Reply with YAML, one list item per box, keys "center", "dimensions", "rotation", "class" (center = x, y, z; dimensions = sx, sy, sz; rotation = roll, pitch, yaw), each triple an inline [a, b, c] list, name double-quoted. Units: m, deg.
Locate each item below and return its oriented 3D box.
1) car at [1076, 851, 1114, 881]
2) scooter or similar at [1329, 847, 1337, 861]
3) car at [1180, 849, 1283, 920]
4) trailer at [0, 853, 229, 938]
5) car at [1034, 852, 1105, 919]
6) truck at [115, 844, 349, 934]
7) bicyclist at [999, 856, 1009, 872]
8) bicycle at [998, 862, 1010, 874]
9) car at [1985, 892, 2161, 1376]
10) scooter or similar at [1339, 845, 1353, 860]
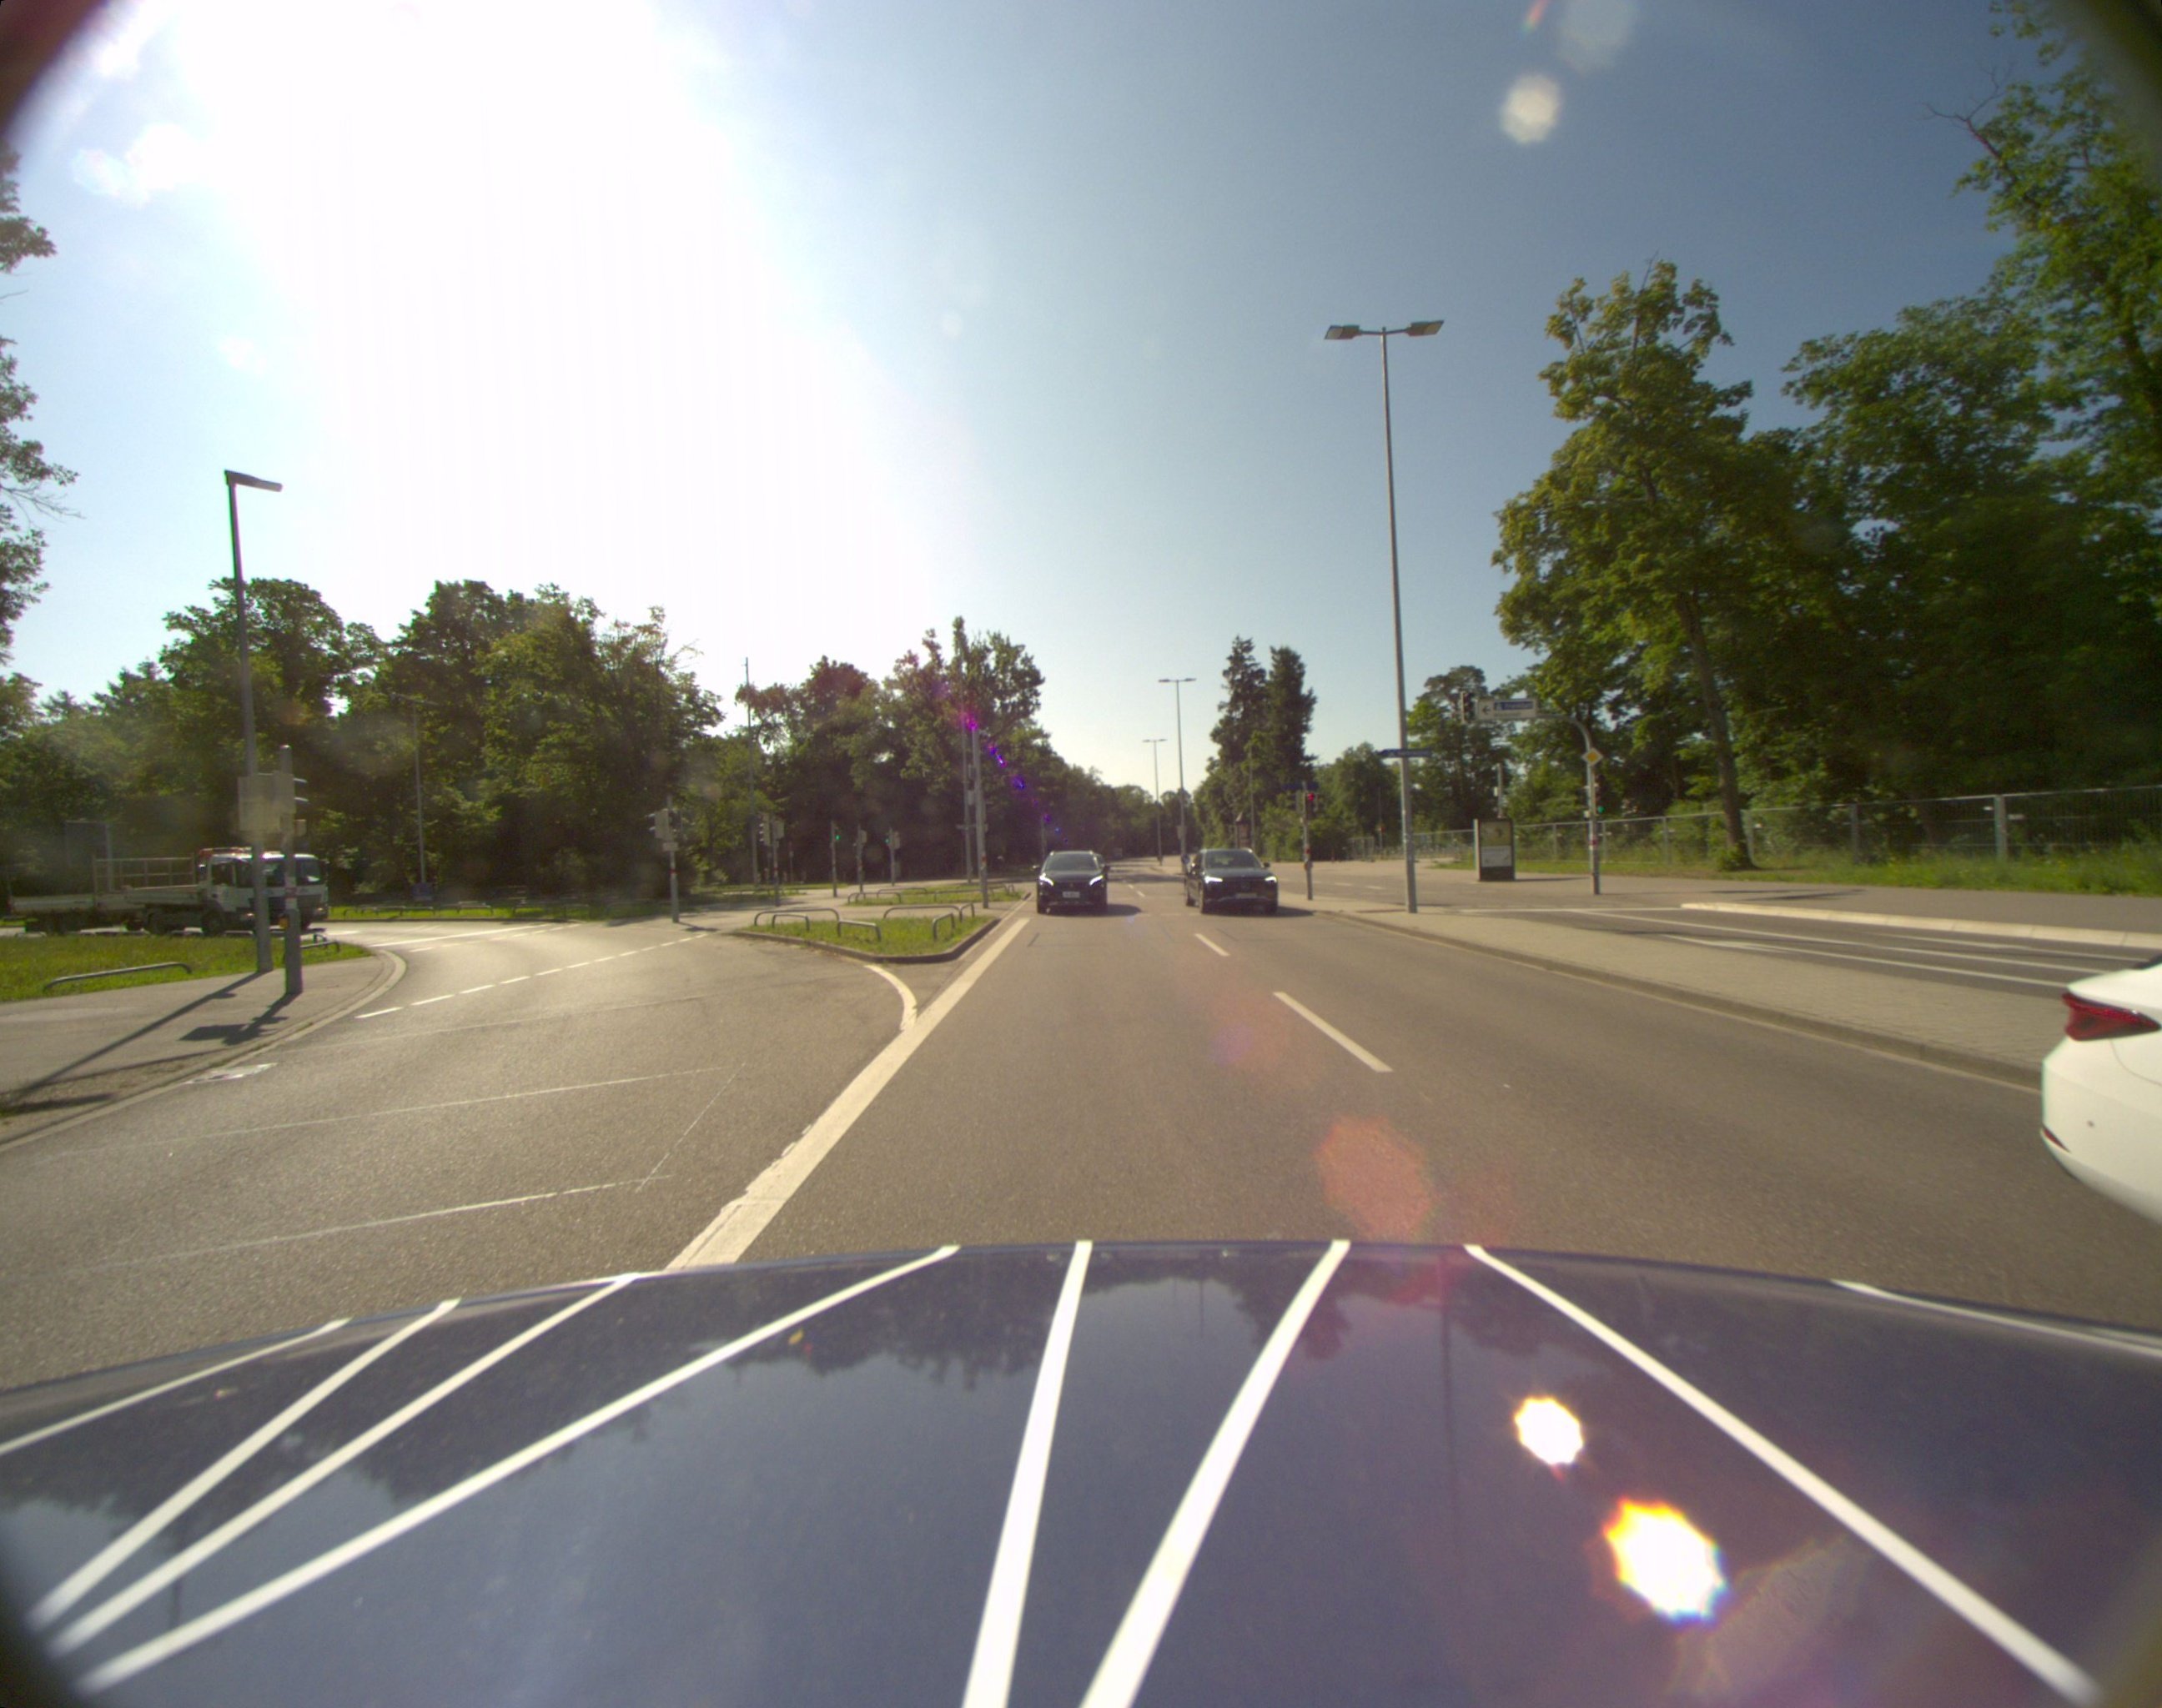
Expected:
- center: [0.733, 0.619, 42.128]
  dimensions: [1.933, 1.499, 4.000]
  rotation: [-2, 0, 0]
  class: "car"
- center: [21.358, 0.001, 64.323]
  dimensions: [0.395, 1.139, 1.197]
  rotation: [-2, 0, 7]
  class: "scooter or similar"
- center: [3.766, 0.702, 19.722]
  dimensions: [1.809, 1.587, 4.272]
  rotation: [-1, 1, 0]
  class: "car"
- center: [-34.756, 1.459, 27.266]
  dimensions: [6.876, 2.672, 2.706]
  rotation: [-2, 1, 16]
  class: "trailer"
- center: [-0.228, 0.776, 21.057]
  dimensions: [1.702, 1.581, 4.319]
  rotation: [-2, 0, 2]
  class: "car"
- center: [-28.518, 1.157, 25.580]
  dimensions: [6.191, 2.702, 2.683]
  rotation: [-2, 1, 16]
  class: "truck"
- center: [-7.919, 1.003, 78.110]
  dimensions: [0.725, 1.629, 1.058]
  rotation: [-2, 1, 8]
  class: "bicyclist"
- center: [-7.886, 1.410, 78.181]
  dimensions: [0.725, 1.192, 2.102]
  rotation: [-2, 0, 8]
  class: "bicycle"
- center: [4.095, 0.848, 0.360]
  dimensions: [1.729, 1.418, 4.719]
  rotation: [-1, 0, 0]
  class: "car"
- center: [22.368, -0.091, 64.189]
  dimensions: [1.082, 1.215, 0.395]
  rotation: [-3, 1, -23]
  class: "scooter or similar"
